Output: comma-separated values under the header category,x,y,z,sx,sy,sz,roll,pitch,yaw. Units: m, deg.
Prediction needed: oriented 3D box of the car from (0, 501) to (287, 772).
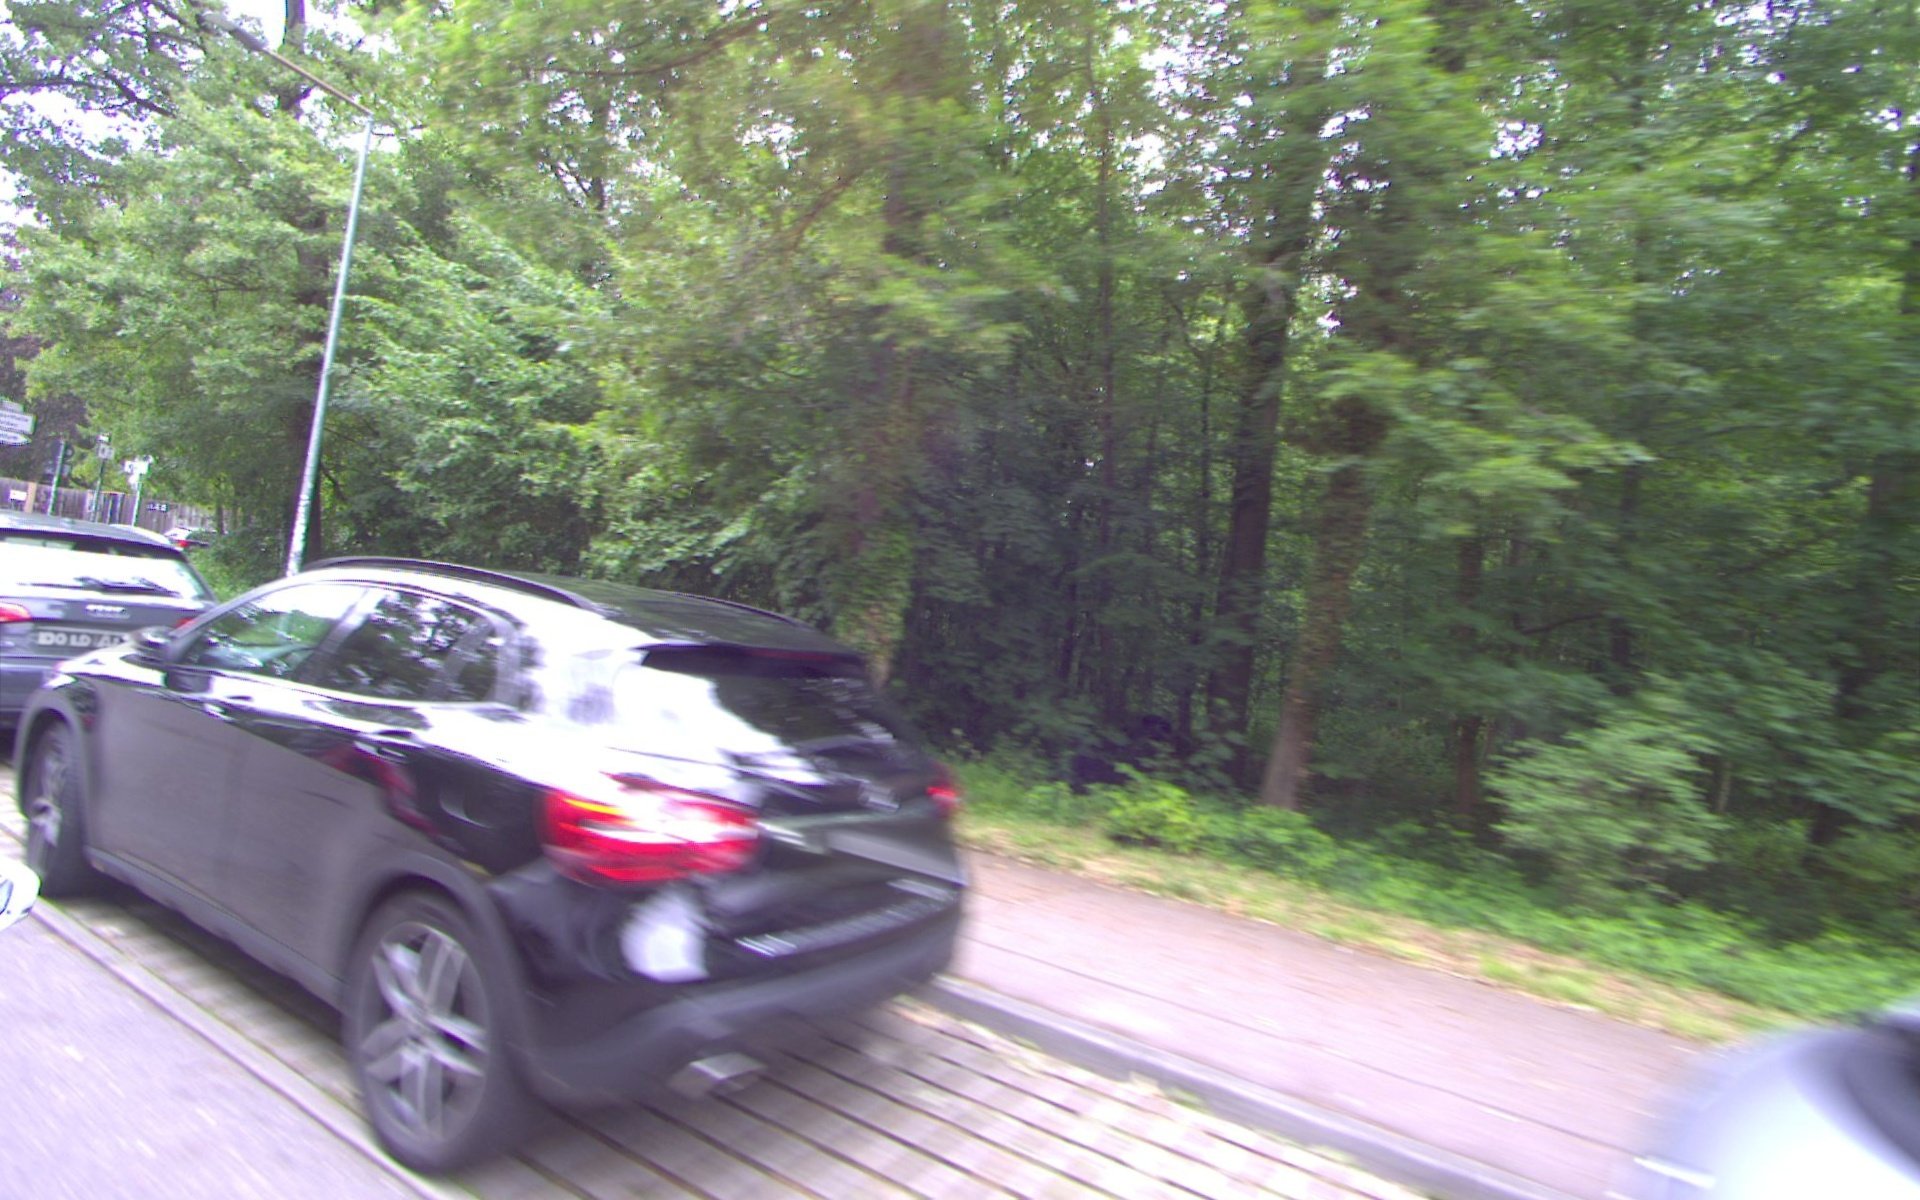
category,x,y,z,sx,sy,sz,roll,pitch,yaw
car,-6.765,0.031,6.958,4.428,1.448,1.740,7,-2,32

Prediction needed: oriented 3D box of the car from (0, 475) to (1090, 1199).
category,x,y,z,sx,sy,sz,roll,pitch,yaw
car,-1.921,0.578,3.793,4.311,1.607,1.739,7,-2,33

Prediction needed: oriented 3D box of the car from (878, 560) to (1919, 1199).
category,x,y,z,sx,sy,sz,roll,pitch,yaw
car,2.014,1.008,1.684,3.940,1.586,1.741,7,-2,30
